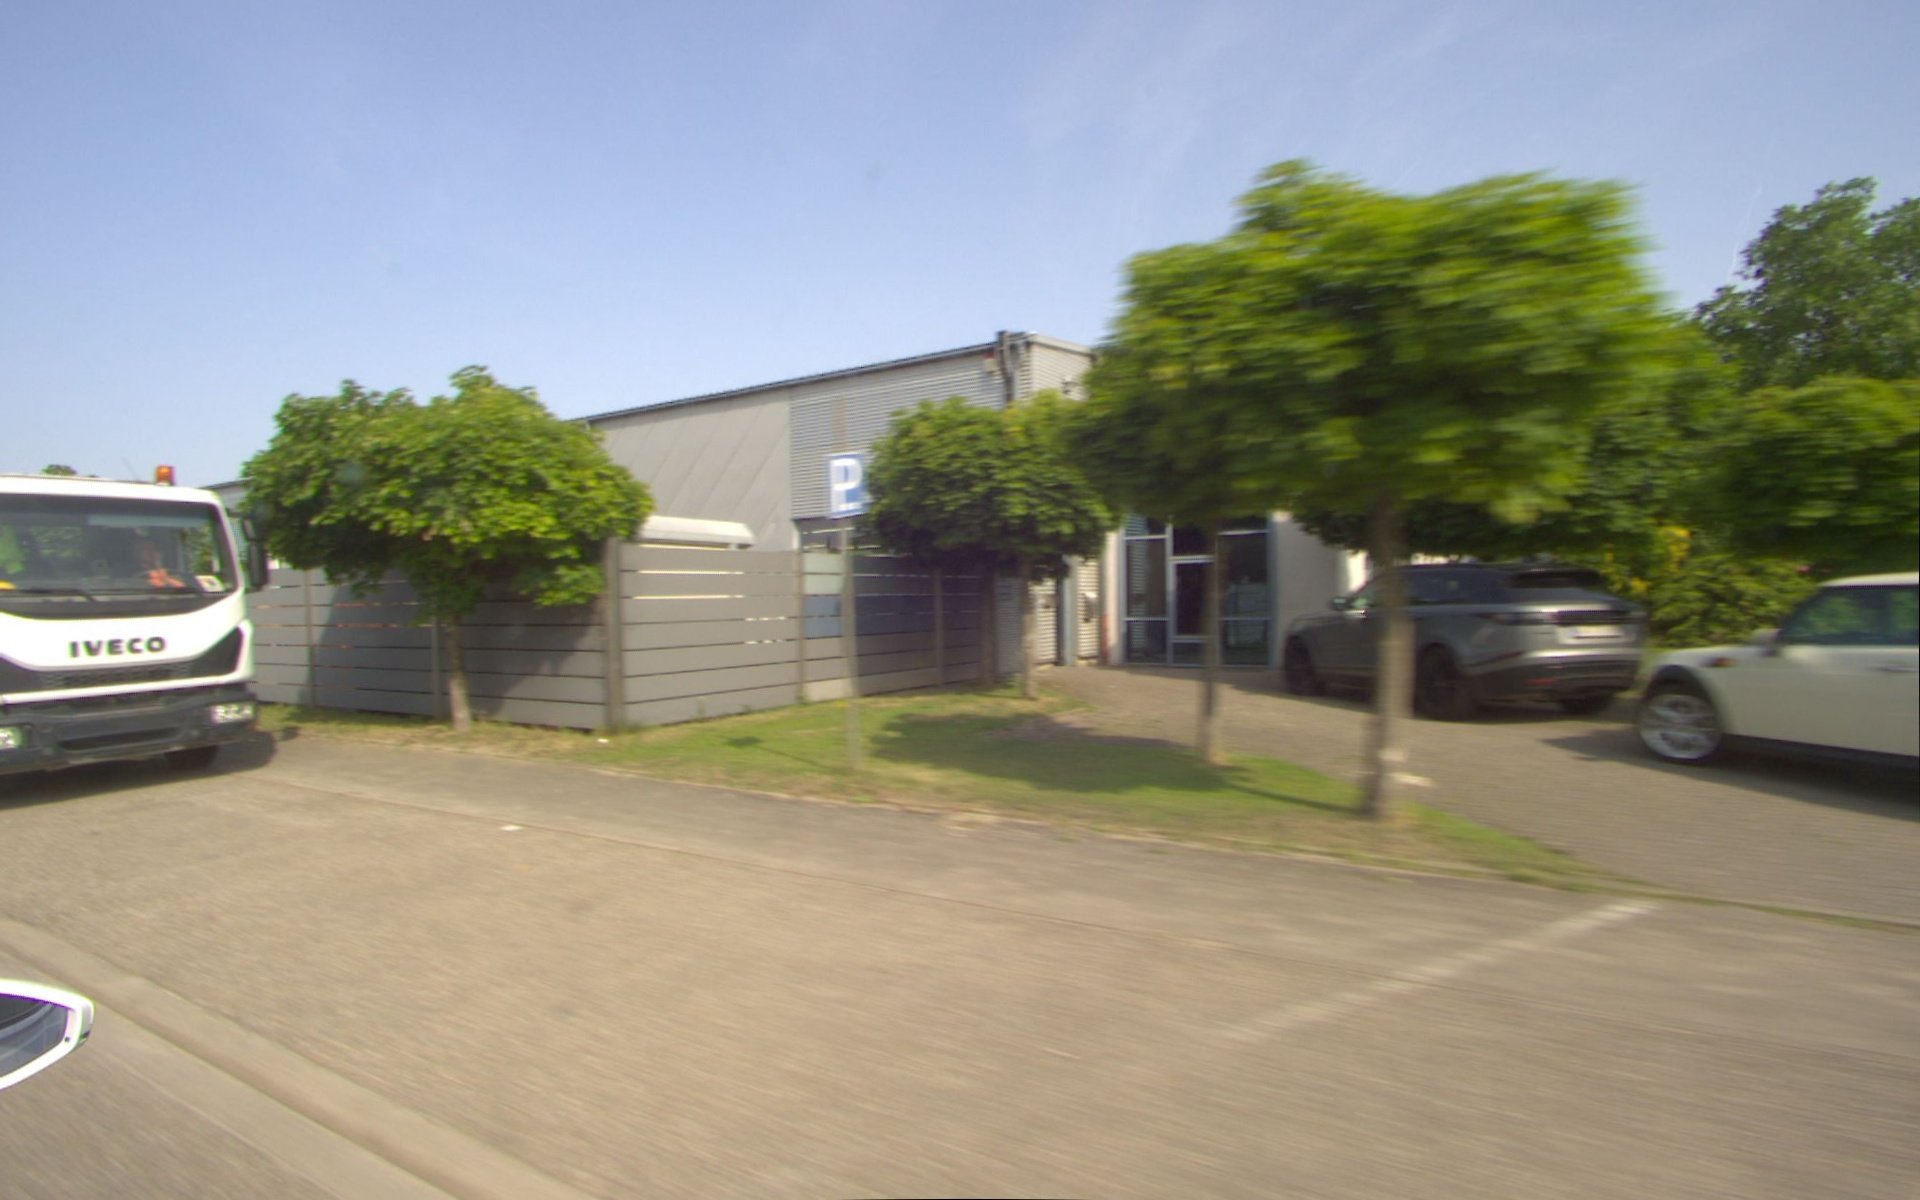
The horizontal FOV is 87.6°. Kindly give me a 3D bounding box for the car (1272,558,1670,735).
[{"bbox_3d":[5.499,0.415,11.569,1.656,1.610,4.529,-1,1,-11],"label":"car"}]

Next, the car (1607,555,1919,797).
[{"bbox_3d":[6.288,0.420,6.400,1.655,1.399,3.696,-1,1,-6],"label":"car"}]

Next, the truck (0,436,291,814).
[{"bbox_3d":[-9.331,0.214,9.455,6.413,2.718,2.355,-1,1,30],"label":"truck"}]
